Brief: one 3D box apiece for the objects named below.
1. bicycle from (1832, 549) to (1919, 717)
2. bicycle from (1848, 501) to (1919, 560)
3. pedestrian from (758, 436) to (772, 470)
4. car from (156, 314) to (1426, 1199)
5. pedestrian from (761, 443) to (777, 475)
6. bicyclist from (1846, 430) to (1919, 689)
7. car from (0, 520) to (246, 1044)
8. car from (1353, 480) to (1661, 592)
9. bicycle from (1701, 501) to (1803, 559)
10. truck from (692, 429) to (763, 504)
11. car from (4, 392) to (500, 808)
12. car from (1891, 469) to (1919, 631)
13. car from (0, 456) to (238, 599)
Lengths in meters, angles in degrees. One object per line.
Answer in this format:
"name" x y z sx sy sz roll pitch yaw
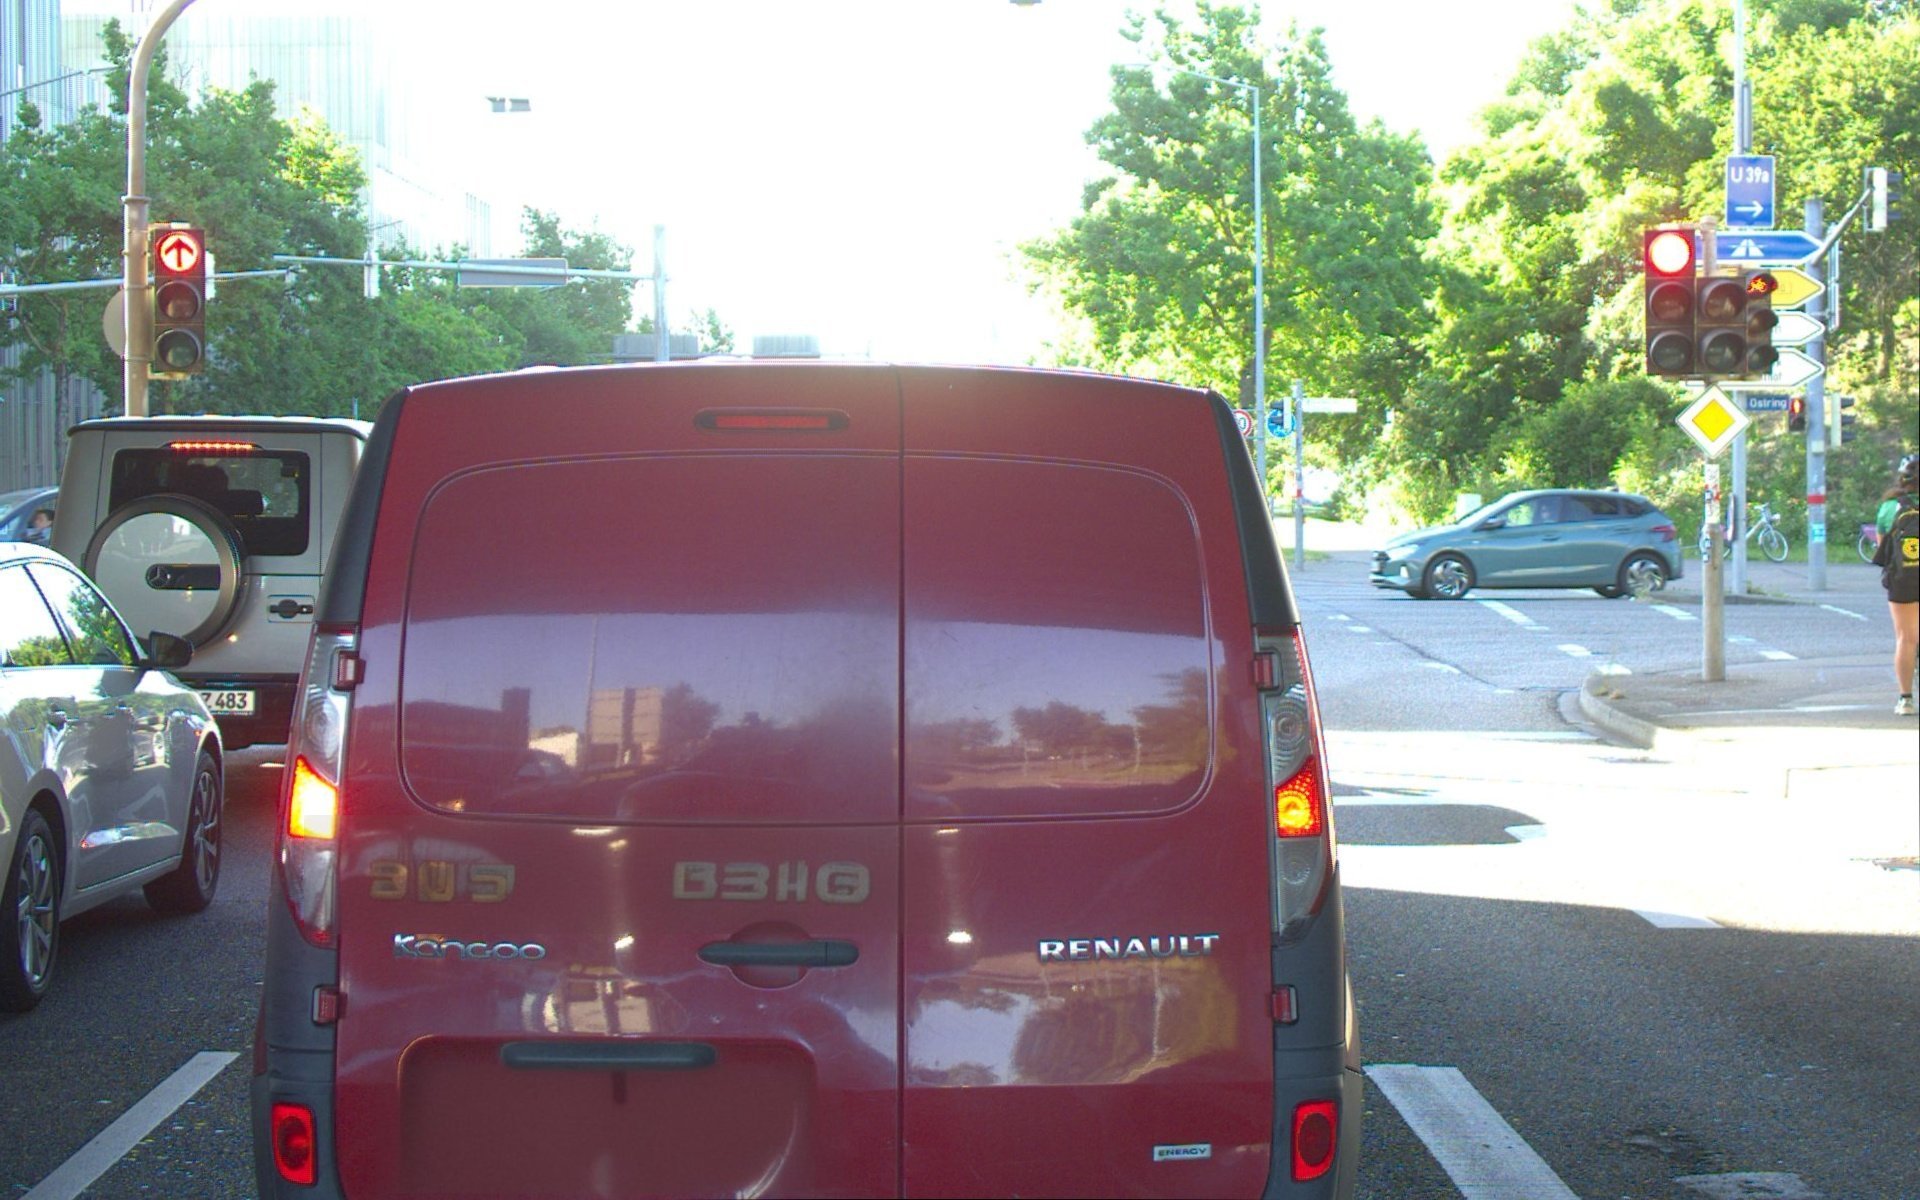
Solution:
"bicycle" 6.061 0.195 21.774 0.591 1.020 1.750 1 1 -1
"bicycle" 16.671 -1.228 60.926 1.745 1.020 0.593 1 0 9
"pedestrian" -11.822 -8.895 208.318 0.740 2.007 0.637 1 0 3
"car" -0.268 0.476 6.935 1.805 1.788 4.000 1 1 -1
"pedestrian" -12.191 -9.010 219.269 0.941 2.007 0.694 1 0 3
"bicyclist" 6.051 -0.253 21.803 0.591 1.608 0.942 1 0 -1
"car" -3.635 0.469 11.419 1.813 1.433 3.731 0 2 -1
"car" 7.178 -0.840 45.327 3.745 1.443 1.695 0 1 -3
"bicycle" 14.361 -1.275 62.388 1.745 1.020 0.593 1 0 9
"truck" -9.945 -5.685 147.503 2.409 3.016 6.657 -2 2 0
"car" -3.715 -0.023 18.842 1.801 1.982 4.589 1 1 -1
"car" 12.067 -0.530 36.553 3.968 1.700 1.725 0 1 -24
"car" -10.238 -0.785 38.021 1.825 1.509 4.555 1 1 30
